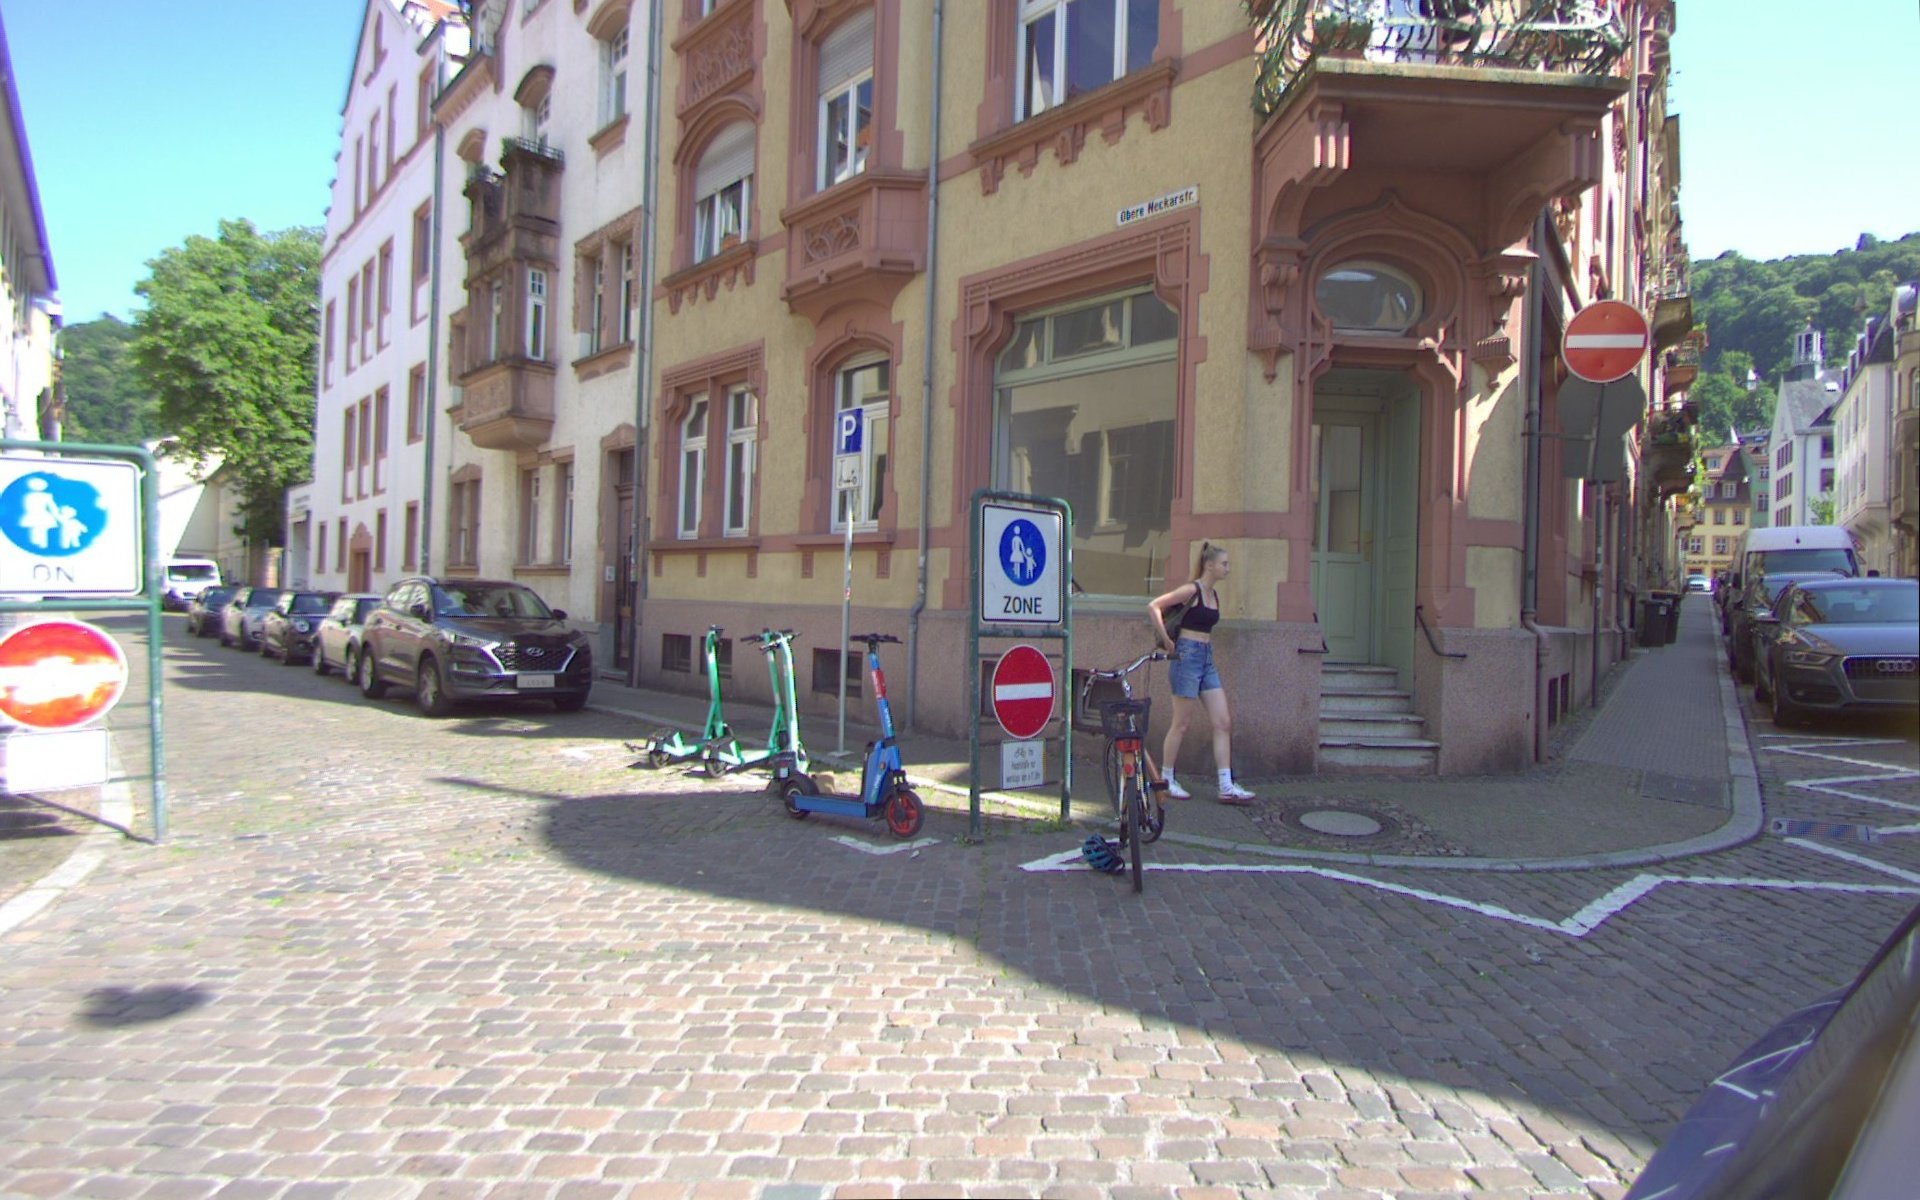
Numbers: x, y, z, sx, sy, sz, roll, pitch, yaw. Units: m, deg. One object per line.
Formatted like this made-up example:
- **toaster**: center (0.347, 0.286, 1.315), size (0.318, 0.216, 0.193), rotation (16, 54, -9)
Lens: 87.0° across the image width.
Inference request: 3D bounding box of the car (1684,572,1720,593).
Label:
- **car**: center (63.214, -1.490, 86.294), size (1.983, 1.683, 3.957), rotation (1, 0, 30)

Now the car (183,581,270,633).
- **car**: center (-21.506, 0.173, 29.625), size (1.683, 1.413, 3.327), rotation (0, 1, -43)

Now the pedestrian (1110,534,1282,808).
- **pedestrian**: center (1.652, 0.449, 7.139), size (0.613, 1.780, 0.978), rotation (-3, 2, -44)

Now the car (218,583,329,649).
- **car**: center (-16.063, 0.318, 23.616), size (1.683, 1.413, 3.327), rotation (0, 1, -43)

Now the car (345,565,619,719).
- **car**: center (-6.270, 0.425, 13.078), size (3.988, 1.663, 1.968), rotation (1, 1, 45)

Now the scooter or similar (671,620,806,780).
- **scooter or similar**: center (-1.845, 0.798, 8.563), size (0.409, 1.224, 1.223), rotation (1, 0, 27)

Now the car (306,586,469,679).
- **car**: center (-9.649, 0.476, 16.966), size (1.683, 1.375, 3.327), rotation (0, 1, -43)

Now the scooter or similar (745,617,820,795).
- **scooter or similar**: center (-1.339, 0.763, 7.777), size (0.336, 1.224, 1.190), rotation (1, 0, 0)

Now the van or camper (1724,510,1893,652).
- **van or camper**: center (17.767, -0.477, 21.521), size (2.213, 2.551, 6.682), rotation (2, 3, 36)

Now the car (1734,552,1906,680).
- **car**: center (13.233, 0.188, 15.790), size (1.751, 1.727, 3.947), rotation (-2, 0, 37)

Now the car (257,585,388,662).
- **car**: center (-12.981, 0.409, 20.548), size (1.683, 1.413, 3.327), rotation (0, 1, -43)

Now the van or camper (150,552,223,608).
- **van or camper**: center (-34.627, -0.875, 45.237), size (2.148, 2.351, 5.350), rotation (0, 1, -42)

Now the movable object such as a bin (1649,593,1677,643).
- **movable object such as a bin**: center (13.884, 0.342, 19.988), size (0.437, 0.970, 0.345), rotation (1, -1, 38)

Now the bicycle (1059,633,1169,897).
- **bicycle**: center (0.894, 0.820, 5.757), size (0.497, 1.160, 1.788), rotation (1, 1, 10)

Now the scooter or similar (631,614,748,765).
- **scooter or similar**: center (-2.365, 0.746, 8.951), size (0.338, 1.224, 1.182), rotation (1, 0, 21)

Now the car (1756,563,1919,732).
- **car**: center (10.272, 0.407, 11.373), size (1.850, 1.603, 4.206), rotation (-1, 1, 36)

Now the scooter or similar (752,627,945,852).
- **scooter or similar**: center (-0.711, 0.816, 6.340), size (1.182, 1.251, 0.437), rotation (1, 0, 34)

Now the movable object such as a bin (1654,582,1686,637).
- **movable object such as a bin**: center (14.627, 0.191, 20.848), size (0.515, 1.103, 0.415), rotation (1, -1, 38)
